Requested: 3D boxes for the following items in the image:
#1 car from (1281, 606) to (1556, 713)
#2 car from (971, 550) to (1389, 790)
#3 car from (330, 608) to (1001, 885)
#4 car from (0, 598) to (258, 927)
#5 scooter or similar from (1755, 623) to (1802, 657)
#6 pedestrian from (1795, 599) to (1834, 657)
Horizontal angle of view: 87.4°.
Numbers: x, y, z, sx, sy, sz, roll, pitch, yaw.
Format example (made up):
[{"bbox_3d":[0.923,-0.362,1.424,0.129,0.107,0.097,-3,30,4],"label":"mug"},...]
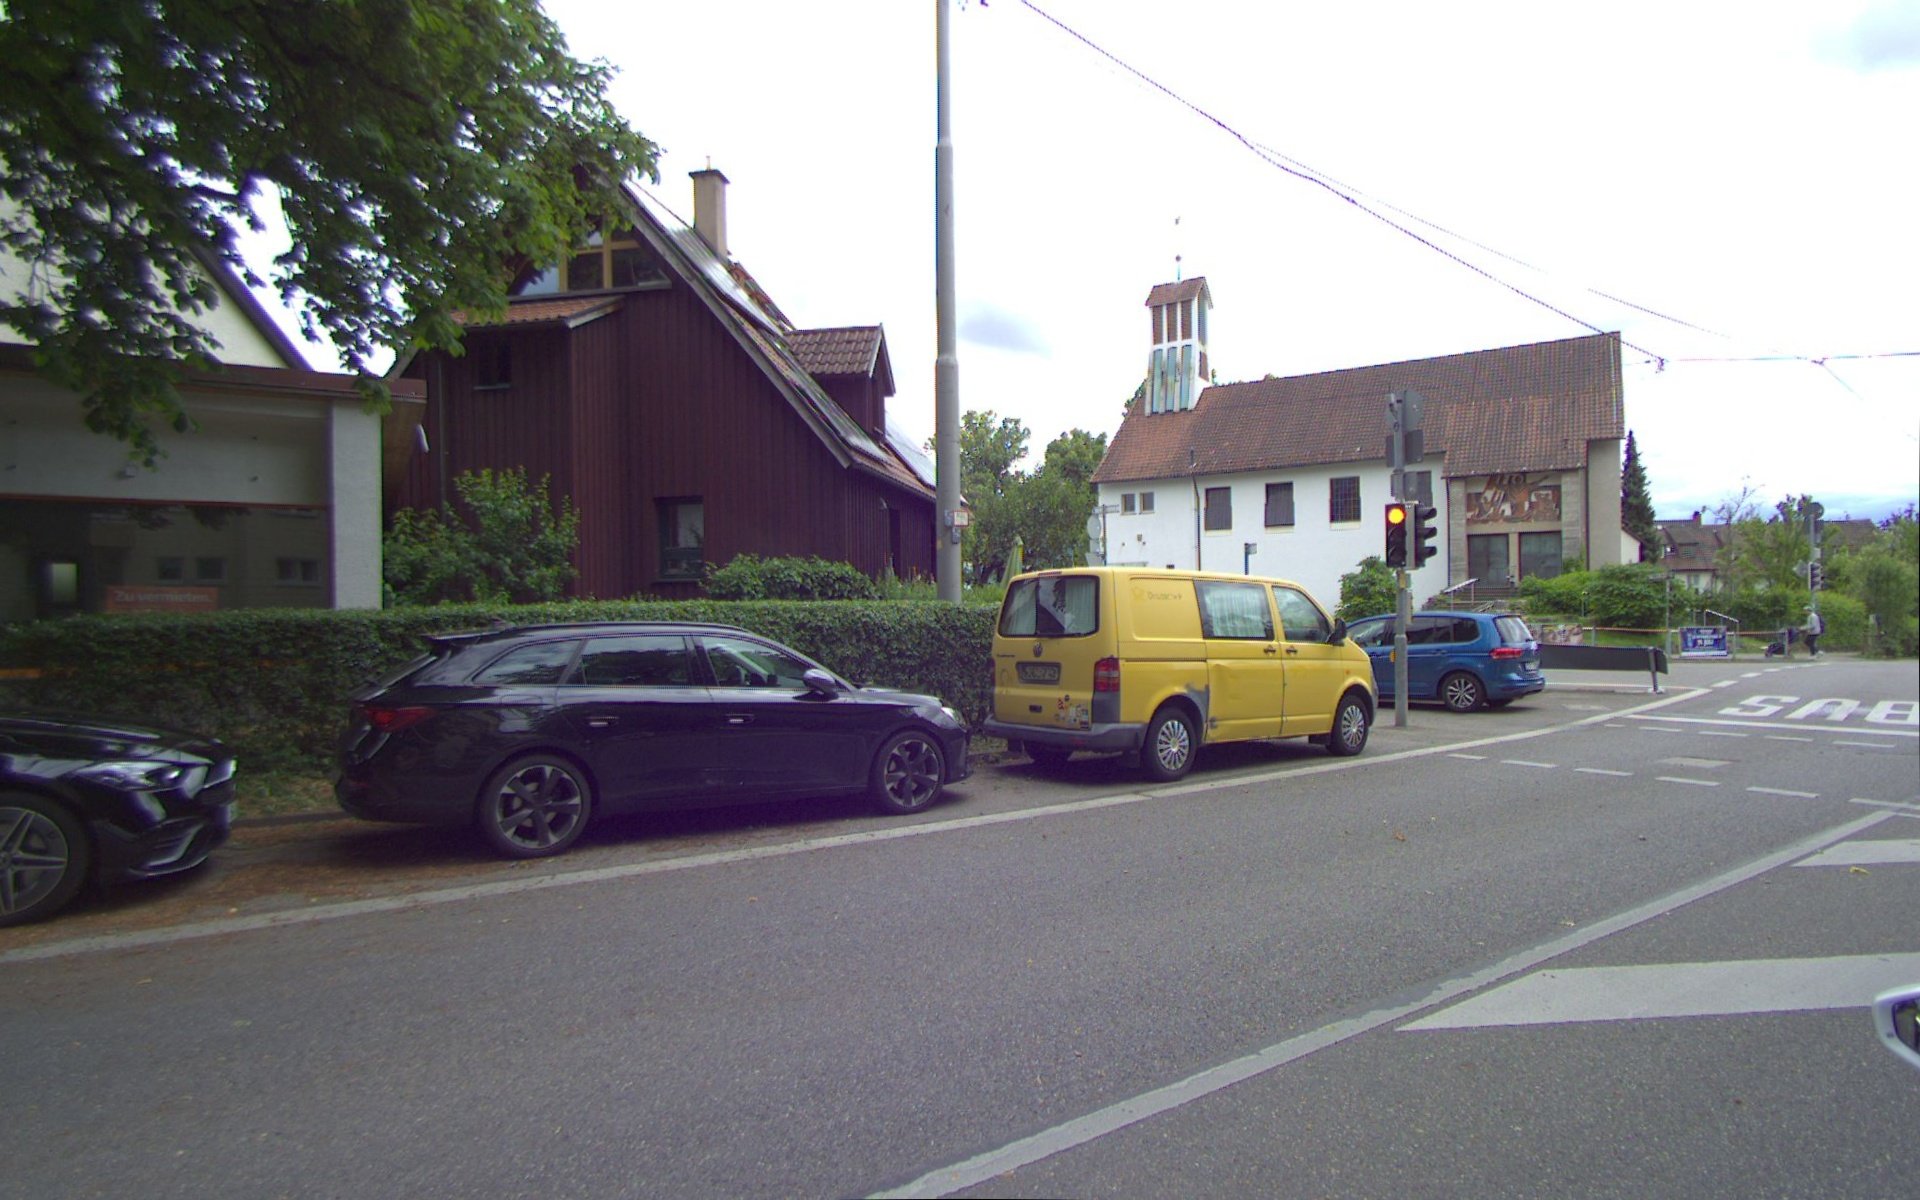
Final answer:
[{"bbox_3d":[7.814,0.991,17.361,1.806,1.632,3.948,1,-3,-44],"label":"car"},{"bbox_3d":[2.462,0.646,10.679,4.523,2.040,1.870,1,-2,-37],"label":"car"},{"bbox_3d":[-1.995,0.844,7.435,4.494,1.505,1.681,1,-2,-34],"label":"car"},{"bbox_3d":[-6.212,0.760,4.751,4.561,1.520,1.984,1,-2,-31],"label":"car"},{"bbox_3d":[27.140,1.319,33.324,1.090,1.095,0.577,-1,-1,26],"label":"scooter or similar"},{"bbox_3d":[27.986,0.908,32.908,0.871,1.887,0.573,-1,-1,29],"label":"pedestrian"}]
